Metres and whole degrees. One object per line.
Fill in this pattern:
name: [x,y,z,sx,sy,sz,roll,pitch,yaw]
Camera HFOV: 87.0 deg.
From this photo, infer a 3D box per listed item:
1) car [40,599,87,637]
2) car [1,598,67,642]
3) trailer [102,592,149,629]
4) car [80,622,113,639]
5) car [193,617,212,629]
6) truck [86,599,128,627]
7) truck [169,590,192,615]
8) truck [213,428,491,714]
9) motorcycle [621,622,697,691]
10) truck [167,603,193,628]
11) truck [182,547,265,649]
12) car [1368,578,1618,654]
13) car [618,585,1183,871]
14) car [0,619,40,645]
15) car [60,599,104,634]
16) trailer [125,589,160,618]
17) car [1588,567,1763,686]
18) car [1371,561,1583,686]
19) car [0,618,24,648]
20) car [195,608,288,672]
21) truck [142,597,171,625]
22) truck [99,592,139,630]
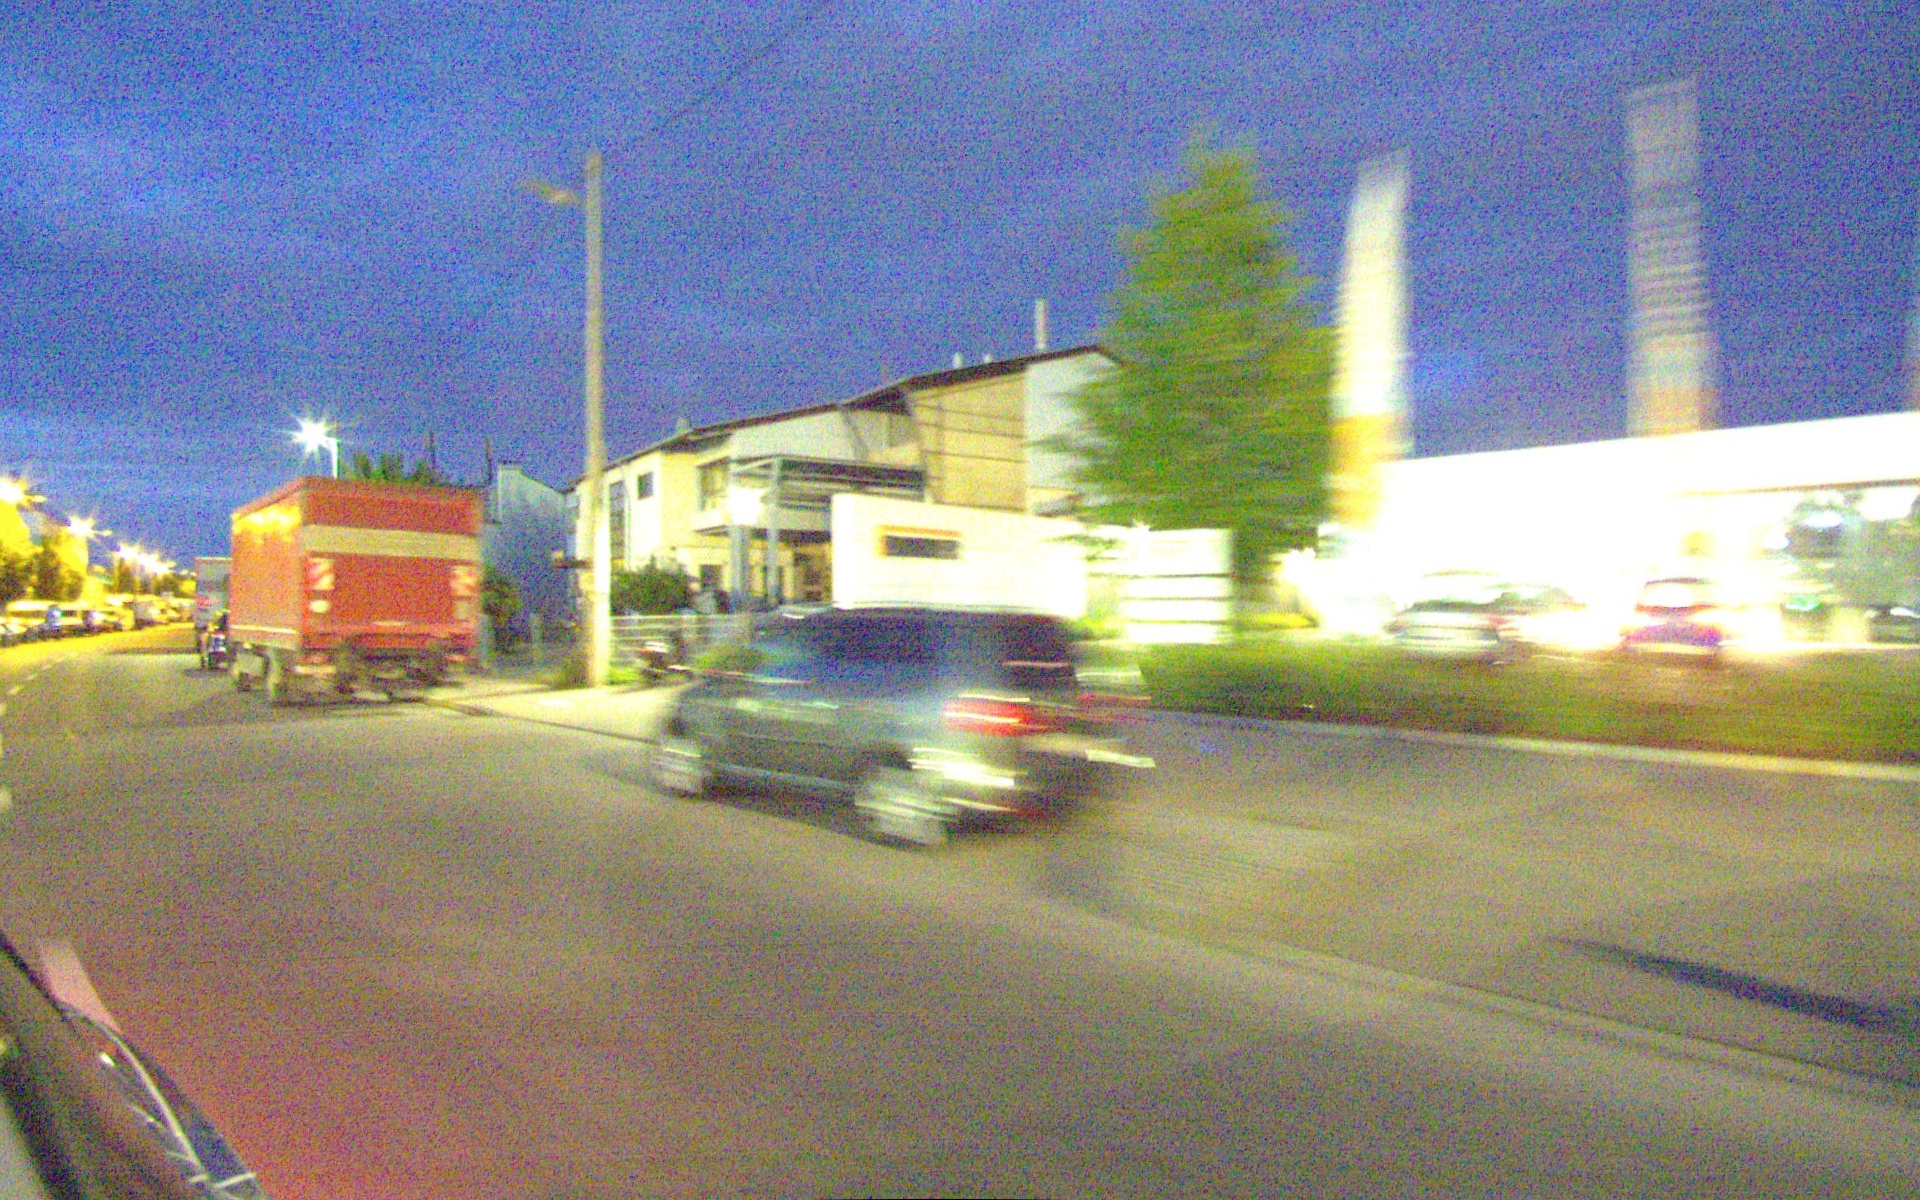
car: [-66.324,1.342,74.967,2.101,2.590,5.921,-4,1,-38]
car: [-58.230,1.251,63.746,1.967,2.544,5.925,-4,1,-33]
trailer: [-93.048,1.197,113.030,2.729,3.792,14.693,-2,0,-35]
car: [-78.919,2.783,92.539,1.806,1.418,4.920,-4,1,-35]
car: [-96.866,2.961,129.475,1.833,1.431,4.009,0,-1,-36]
truck: [-83.149,1.312,98.785,2.369,2.614,6.614,-1,-1,-33]
truck: [-137.404,0.509,178.519,2.618,3.904,10.254,-2,-2,-35]
truck: [-11.820,-0.354,19.098,2.739,4.151,9.352,0,-1,-42]
motorcycle: [-5.558,1.027,18.786,0.527,1.109,1.684,0,2,16]
truck: [-144.831,2.918,187.922,3.023,4.508,5.651,-2,0,-31]
truck: [-32.734,-0.019,44.880,2.710,4.064,9.581,0,-1,-37]
car: [11.415,0.333,21.841,4.460,1.468,1.883,-1,1,40]
car: [-0.714,0.752,7.915,4.495,1.605,1.846,-1,-1,44]
car: [-54.604,1.819,58.195,1.745,1.423,4.562,0,-1,-33]
car: [-70.318,1.356,81.095,1.967,2.590,6.029,-4,1,-35]
trailer: [-104.545,0.477,129.528,2.839,3.551,8.304,0,-1,-35]
car: [10.529,0.334,14.807,1.825,1.463,4.362,-1,0,38]
car: [7.442,0.286,14.341,1.889,1.493,4.362,-1,0,38]
car: [-51.059,1.738,53.138,1.920,1.500,5.024,0,-1,-33]
car: [-21.483,1.136,30.166,1.919,1.730,5.207,0,-1,-39]
truck: [-120.284,1.697,151.637,2.753,4.000,9.844,-2,-1,-35]
truck: [-88.880,1.150,107.017,2.729,3.792,5.241,-2,0,-35]
